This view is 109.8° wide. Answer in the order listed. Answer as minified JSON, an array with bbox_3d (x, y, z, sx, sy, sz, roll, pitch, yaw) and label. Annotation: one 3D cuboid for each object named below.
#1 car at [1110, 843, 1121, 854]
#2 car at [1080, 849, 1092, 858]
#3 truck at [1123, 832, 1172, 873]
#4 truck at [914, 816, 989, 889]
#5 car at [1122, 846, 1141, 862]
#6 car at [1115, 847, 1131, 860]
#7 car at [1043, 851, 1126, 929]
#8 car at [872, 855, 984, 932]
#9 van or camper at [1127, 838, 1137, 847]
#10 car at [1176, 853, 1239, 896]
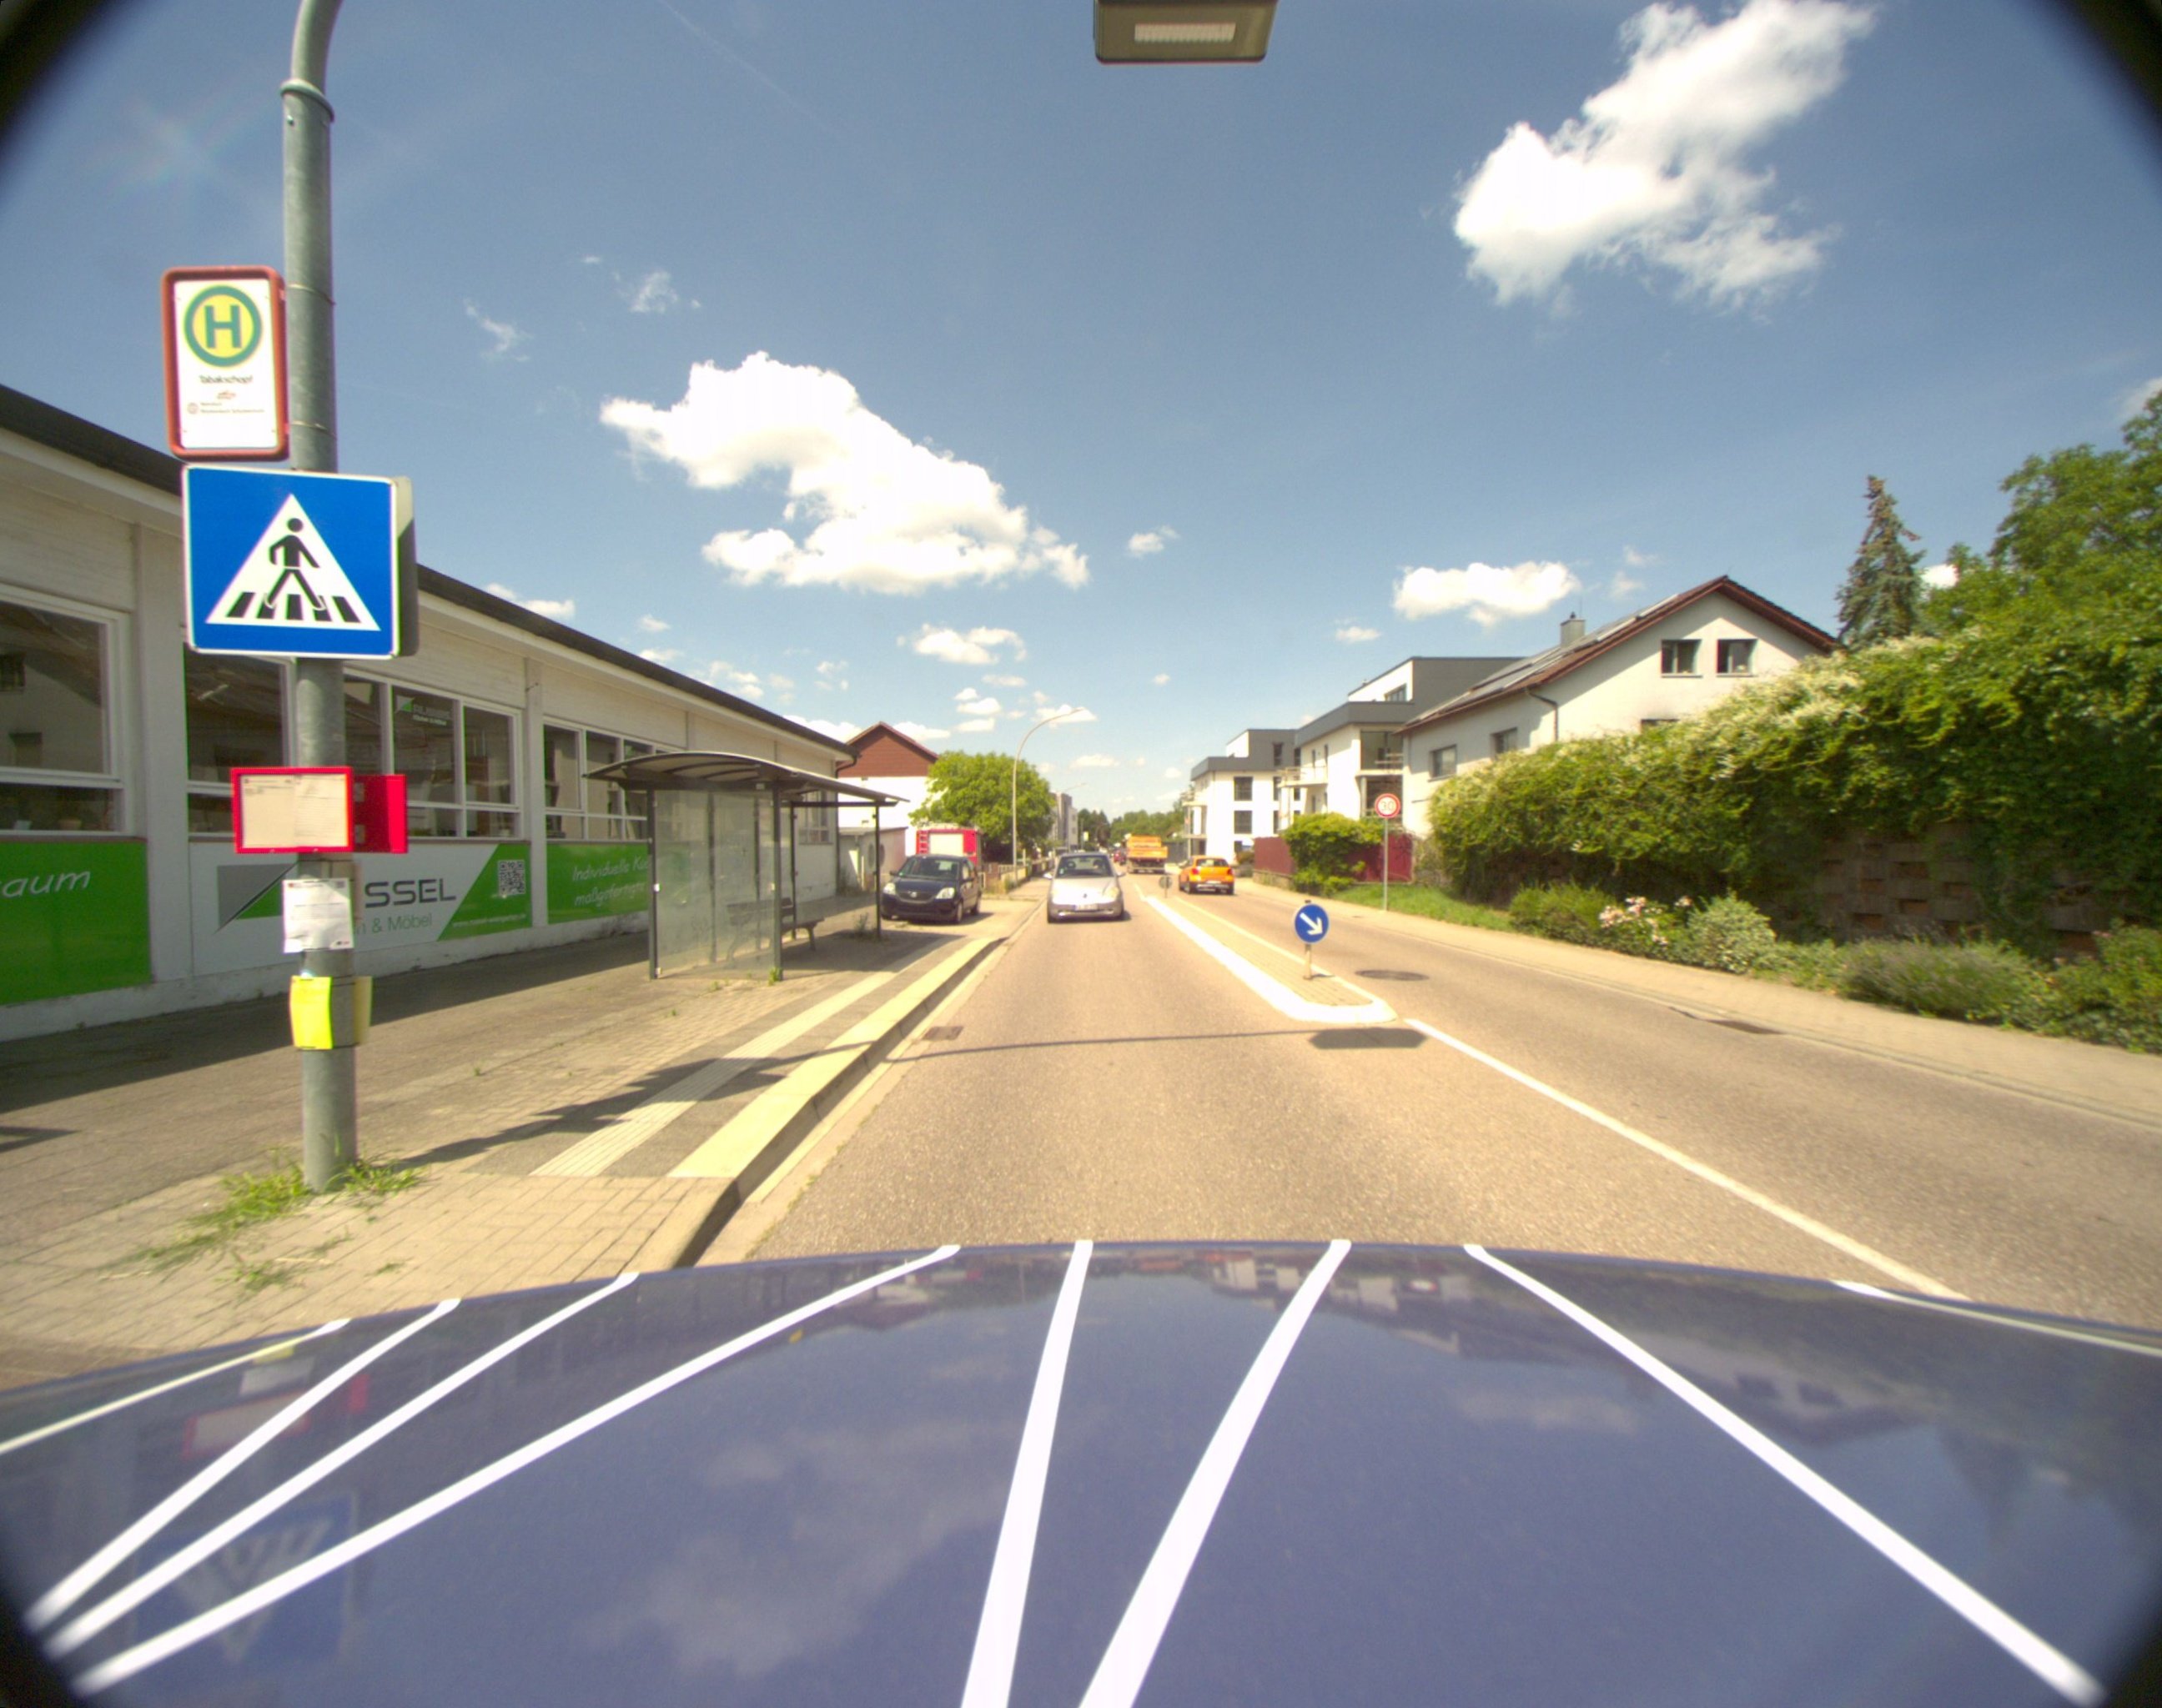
[{"bbox_3d":[5.929,-0.957,130.664,1.735,1.863,3.613,1,1,0],"label":"car"},{"bbox_3d":[0.830,-0.134,127.852,1.729,1.484,3.760,1,1,3],"label":"car"},{"bbox_3d":[4.582,-0.152,53.792,2.864,2.695,6.790,1,1,0],"label":"truck"},{"bbox_3d":[-5.321,-0.069,32.118,2.580,2.745,6.331,1,1,-5],"label":"truck"},{"bbox_3d":[5.092,-0.005,77.039,1.735,1.509,3.613,1,1,0],"label":"car"},{"bbox_3d":[5.041,-0.112,91.375,1.735,1.509,3.613,1,1,0],"label":"car"},{"bbox_3d":[0.075,0.775,18.339,1.723,1.590,3.759,-3,1,0],"label":"car"},{"bbox_3d":[-3.311,0.801,17.139,1.729,1.484,3.759,1,1,0],"label":"car"},{"bbox_3d":[13.493,-2.993,202.295,1.995,2.217,4.452,1,1,13],"label":"van or camper"},{"bbox_3d":[4.746,0.738,28.999,1.799,1.480,3.613,1,1,0],"label":"car"}]
